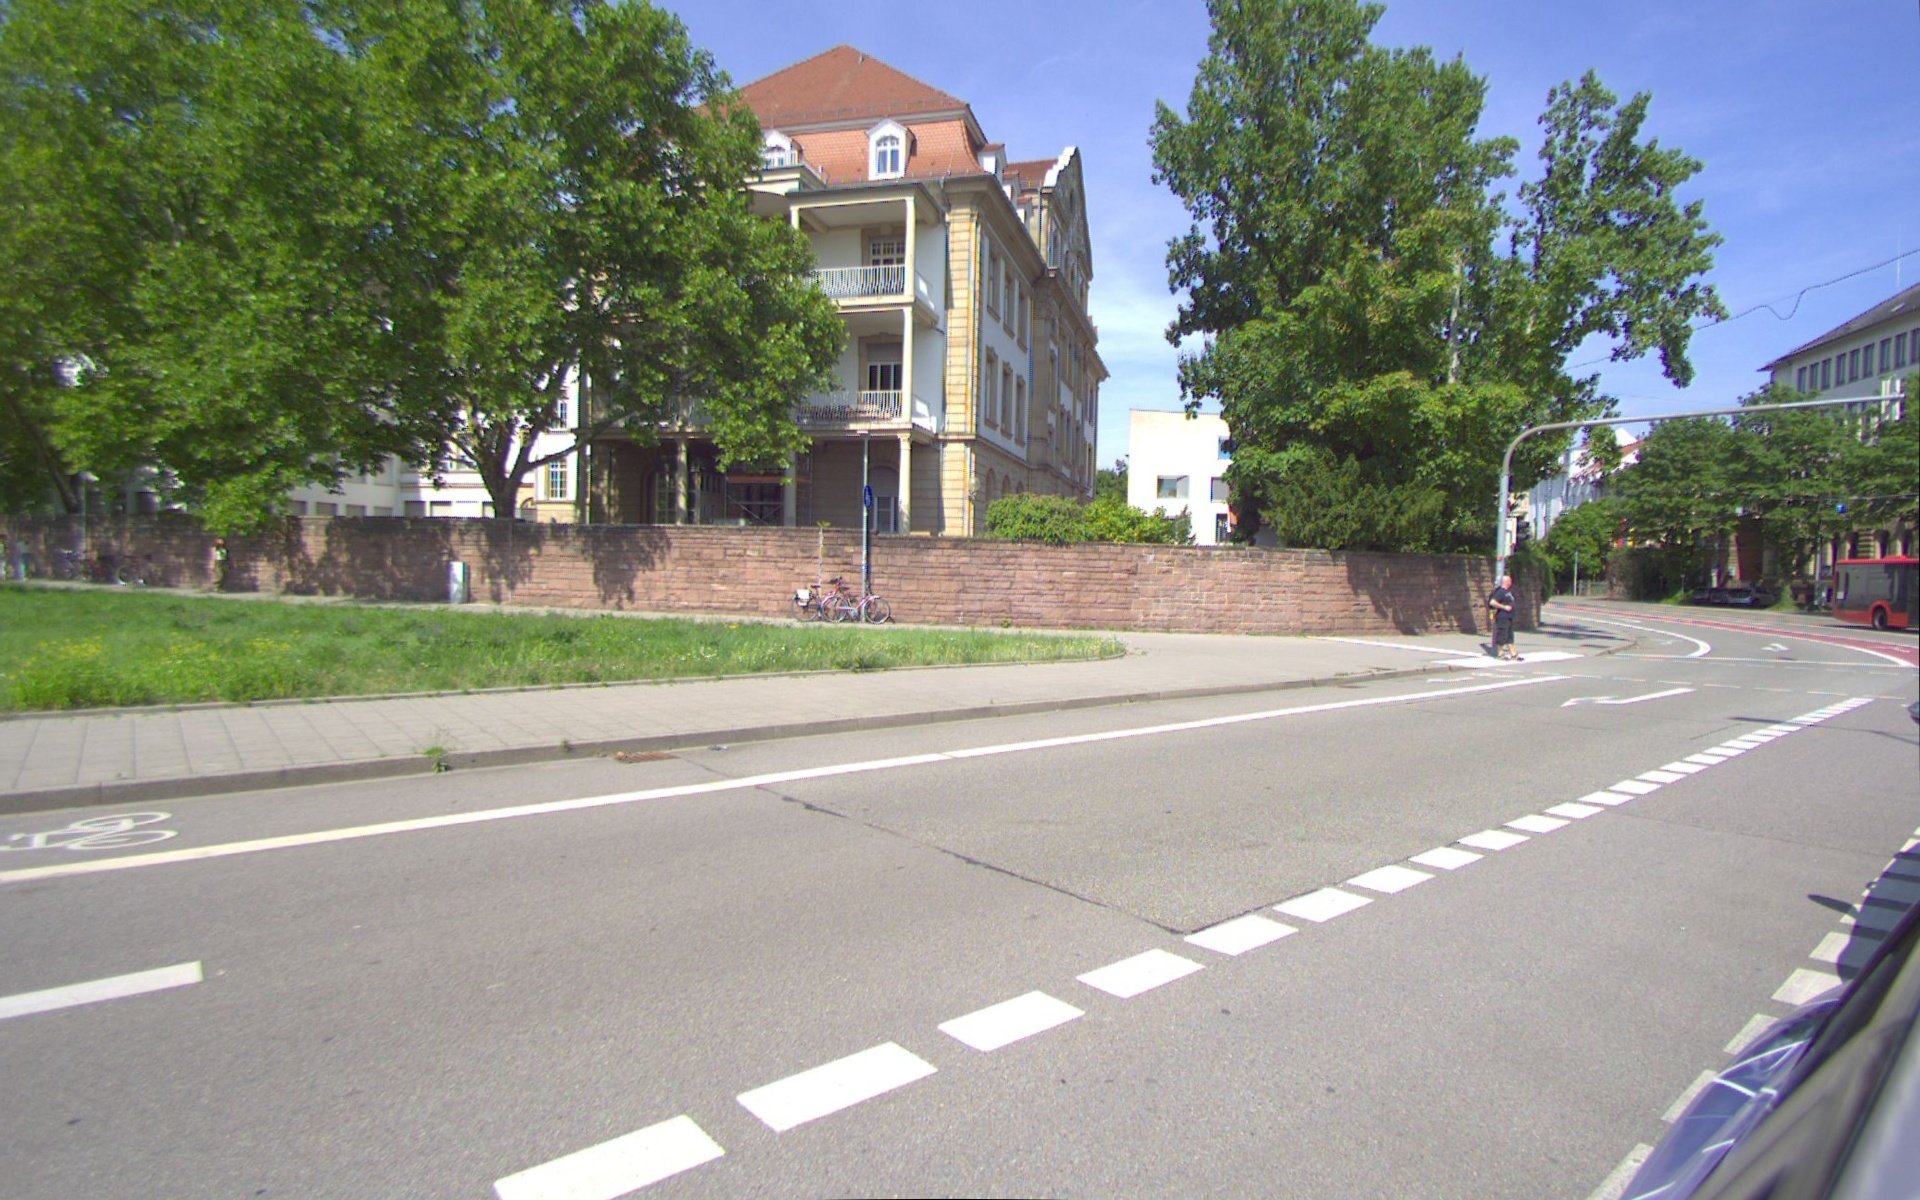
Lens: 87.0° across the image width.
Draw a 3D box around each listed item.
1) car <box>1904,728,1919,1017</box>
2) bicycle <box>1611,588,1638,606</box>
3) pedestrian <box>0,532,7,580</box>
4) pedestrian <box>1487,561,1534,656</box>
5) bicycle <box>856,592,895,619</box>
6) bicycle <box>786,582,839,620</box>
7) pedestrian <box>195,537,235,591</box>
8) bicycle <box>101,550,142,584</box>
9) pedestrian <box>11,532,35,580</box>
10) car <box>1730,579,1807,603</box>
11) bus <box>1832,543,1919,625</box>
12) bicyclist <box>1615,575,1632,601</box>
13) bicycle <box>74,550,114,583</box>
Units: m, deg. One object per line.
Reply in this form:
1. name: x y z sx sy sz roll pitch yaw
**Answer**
1. car: 5.310 0.626 4.000 4.077 1.605 1.688 0 3 -39
2. bicycle: 53.820 -0.285 82.025 0.819 1.420 3.452 0 0 16
3. pedestrian: -32.016 -1.466 33.586 0.700 1.597 0.516 3 3 41
4. pedestrian: 12.148 0.171 22.344 0.790 2.038 0.608 2 1 35
5. bicycle: -2.089 0.136 25.029 0.929 0.609 0.275 2 2 -2
6. bicycle: -3.607 0.014 24.714 1.202 0.894 0.395 1 2 -21
7. pedestrian: -22.021 -1.064 29.922 0.900 1.567 0.501 2 2 13
8. bicycle: -27.320 -1.070 32.977 1.432 1.046 0.444 3 2 24
9. pedestrian: -31.447 -1.472 33.964 0.700 1.597 0.516 3 3 41
10. car: 59.560 -0.674 74.607 3.941 1.682 1.993 0 3 14
11. bus: 38.088 -0.609 37.742 3.087 3.133 12.361 0 1 14
12. bicyclist: 53.827 -0.972 82.105 0.847 2.039 1.230 0 0 16
13. bicycle: -28.777 -1.103 33.623 1.432 1.046 0.444 3 2 24
